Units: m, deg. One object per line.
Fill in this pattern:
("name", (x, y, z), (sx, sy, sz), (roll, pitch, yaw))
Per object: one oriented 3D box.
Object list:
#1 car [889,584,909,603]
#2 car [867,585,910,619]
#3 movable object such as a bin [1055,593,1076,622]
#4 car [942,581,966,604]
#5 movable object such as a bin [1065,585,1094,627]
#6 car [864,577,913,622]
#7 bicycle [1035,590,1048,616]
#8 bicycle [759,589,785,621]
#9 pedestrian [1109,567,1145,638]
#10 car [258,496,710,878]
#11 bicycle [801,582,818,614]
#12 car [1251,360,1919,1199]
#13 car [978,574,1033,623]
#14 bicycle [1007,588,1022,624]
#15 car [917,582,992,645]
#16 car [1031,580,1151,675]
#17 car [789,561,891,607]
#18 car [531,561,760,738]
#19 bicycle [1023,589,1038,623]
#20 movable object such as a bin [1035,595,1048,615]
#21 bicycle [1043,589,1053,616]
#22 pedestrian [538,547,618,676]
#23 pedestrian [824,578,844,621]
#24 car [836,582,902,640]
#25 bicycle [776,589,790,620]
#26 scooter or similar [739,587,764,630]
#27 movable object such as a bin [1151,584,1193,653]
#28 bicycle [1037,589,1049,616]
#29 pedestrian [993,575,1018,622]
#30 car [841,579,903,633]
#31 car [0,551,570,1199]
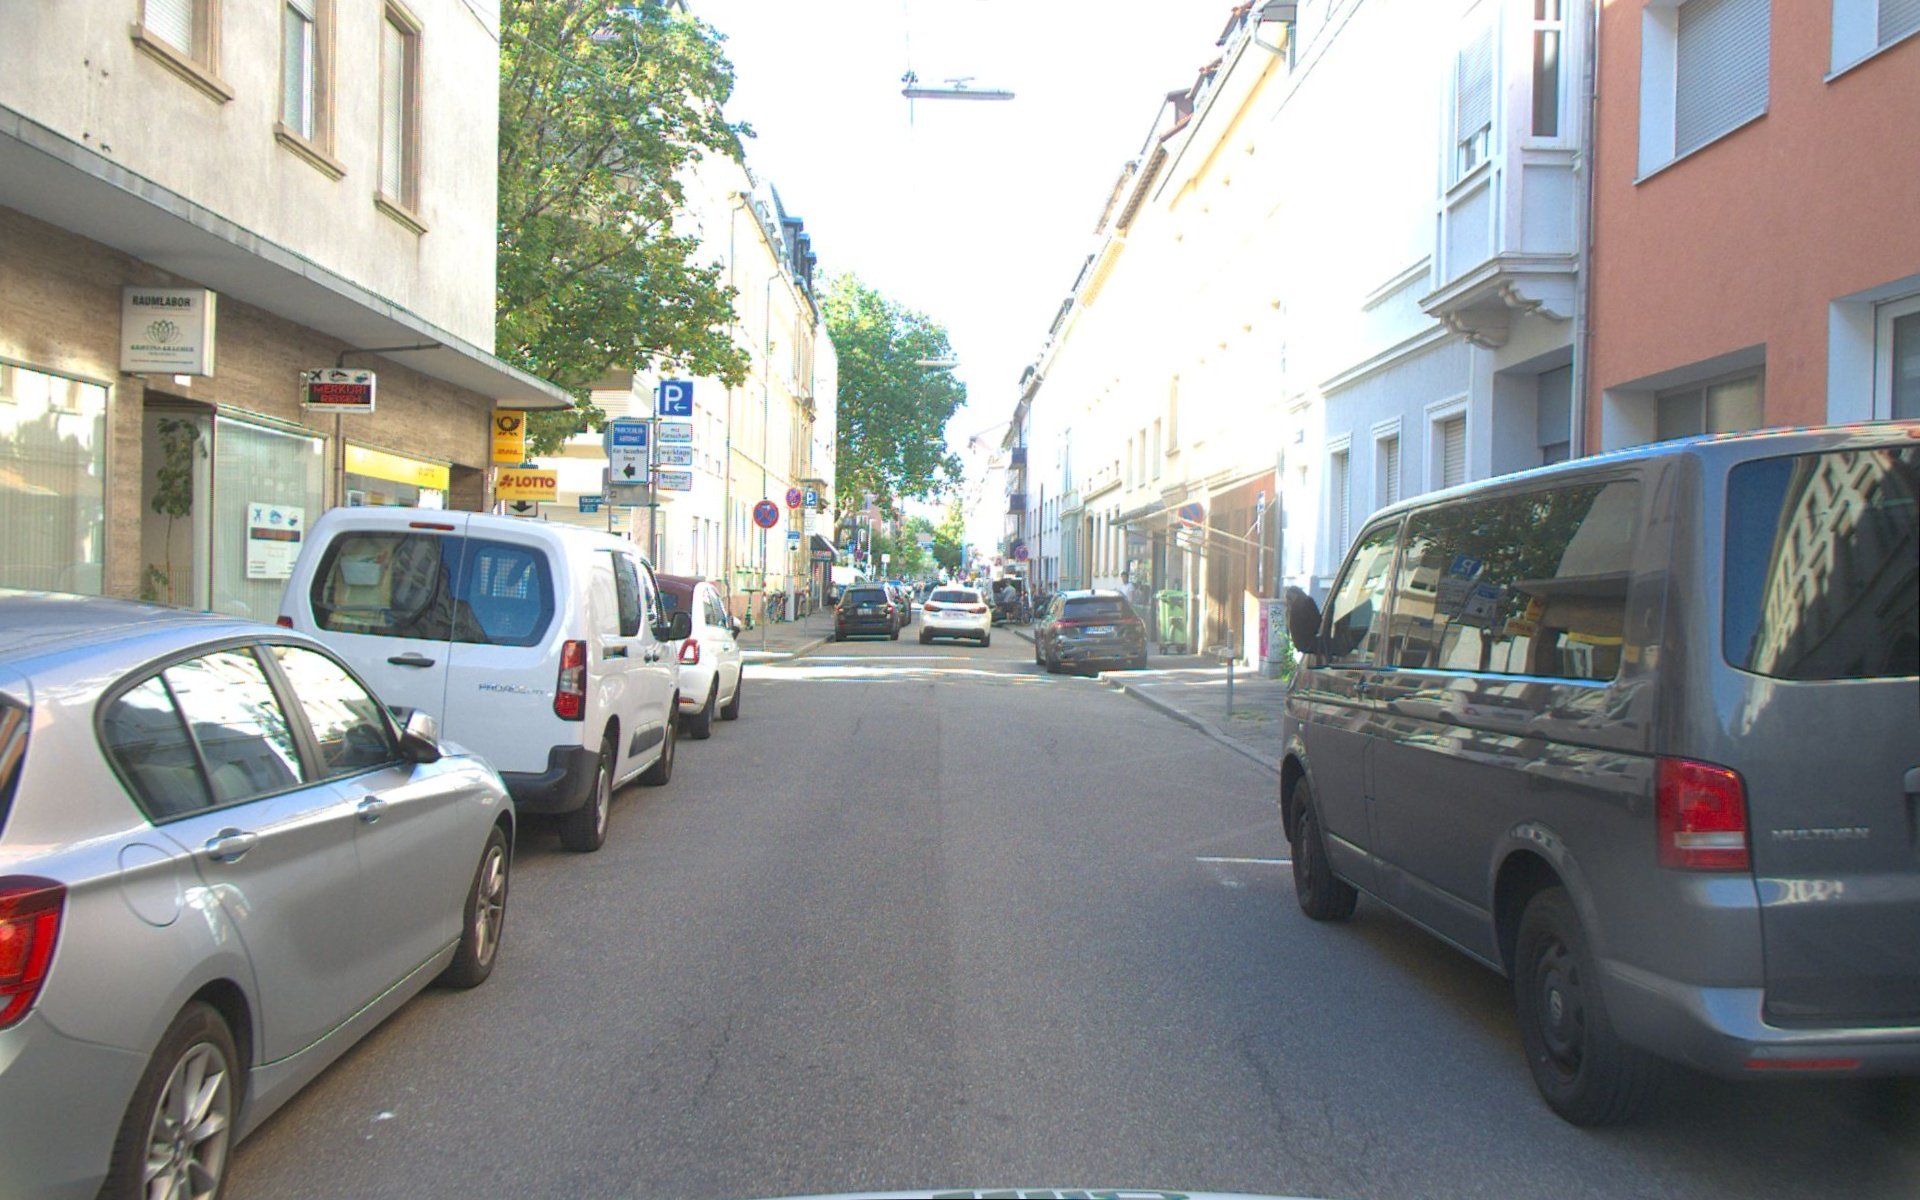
("car", (-5.465, -0.615, 149.217), (1.734, 1.616, 3.725), (1, 1, -2))
("car", (-3.184, 0.096, 74.231), (1.808, 1.442, 4.816), (0, 0, -1))
("movable object such as a bin", (4.099, 0.295, 64.139), (0.780, 1.115, 0.642), (1, 0, 1))
("car", (-0.555, -0.692, 152.545), (1.904, 1.982, 4.075), (2, 0, -4))
("movable object such as a bin", (4.157, 0.215, 57.545), (0.820, 1.414, 1.296), (-1, -2, -2))
("car", (-2.929, -0.046, 68.438), (1.897, 1.766, 5.141), (0, 0, -1))
("bicycle", (3.852, 0.145, 78.059), (0.557, 1.173, 1.869), (1, 0, 4))
("bicycle", (-6.246, 0.173, 55.083), (0.353, 1.046, 1.919), (1, 0, 8))
("pedestrian", (4.480, 0.063, 44.396), (0.639, 1.892, 0.743), (-1, 1, -23))
("car", (-2.792, 0.409, 10.869), (1.731, 1.932, 4.807), (-1, 1, -2))
("bicycle", (-6.200, -0.082, 68.381), (0.500, 1.299, 1.867), (1, 0, 0))
("car", (2.637, 0.486, 6.401), (1.930, 2.064, 4.897), (2, 0, -2))
("car", (1.884, -0.097, 69.876), (1.943, 1.916, 5.598), (-2, 1, -1))
("bicycle", (2.121, 0.217, 63.919), (0.563, 1.344, 2.200), (0, 1, 3))
("car", (-0.182, 0.320, 42.564), (1.787, 1.540, 3.822), (1, 0, -2))
("car", (2.399, 0.466, 31.483), (1.764, 1.606, 4.896), (2, 0, -1))
("car", (-8.109, -1.086, 112.396), (6.602, 2.599, 2.146), (4, 0, 0))
("car", (-3.105, 0.442, 17.007), (1.633, 1.588, 3.722), (1, 0, 0))
("bicycle", (2.756, 0.225, 64.255), (0.563, 1.293, 2.200), (-1, 0, 3))
("movable object such as a bin", (3.926, 0.254, 79.329), (0.565, 0.940, 0.607), (-1, 0, -1))
("bicycle", (4.027, 0.129, 75.638), (0.397, 1.227, 2.160), (1, 0, 2))
("pedestrian", (-5.686, 0.173, 24.695), (0.892, 1.865, 1.245), (1, 0, -1))
("pedestrian", (-5.295, -0.027, 69.492), (0.749, 1.744, 0.883), (2, 1, -2))
("car", (-2.506, 0.281, 46.506), (1.679, 1.514, 4.850), (-1, 0, -2))
("bicycle", (-6.249, 0.169, 58.433), (0.394, 1.074, 1.835), (1, 0, -4))
("scooter or similar", (-6.068, 0.245, 48.093), (0.444, 1.202, 1.691), (1, 0, 2))
("movable object such as a bin", (4.573, 0.387, 35.741), (0.731, 1.461, 1.372), (-1, 0, 1))
("bicycle", (3.884, 0.132, 76.971), (0.428, 1.227, 2.267), (1, 0, 6))
("pedestrian", (1.813, -0.054, 66.626), (0.864, 1.868, 0.867), (1, -1, -8))
("car", (-2.747, 0.152, 52.360), (1.708, 1.643, 4.603), (0, 1, 0))
("car", (-2.437, 0.670, 4.877), (1.631, 1.549, 4.487), (-1, 1, -2))
